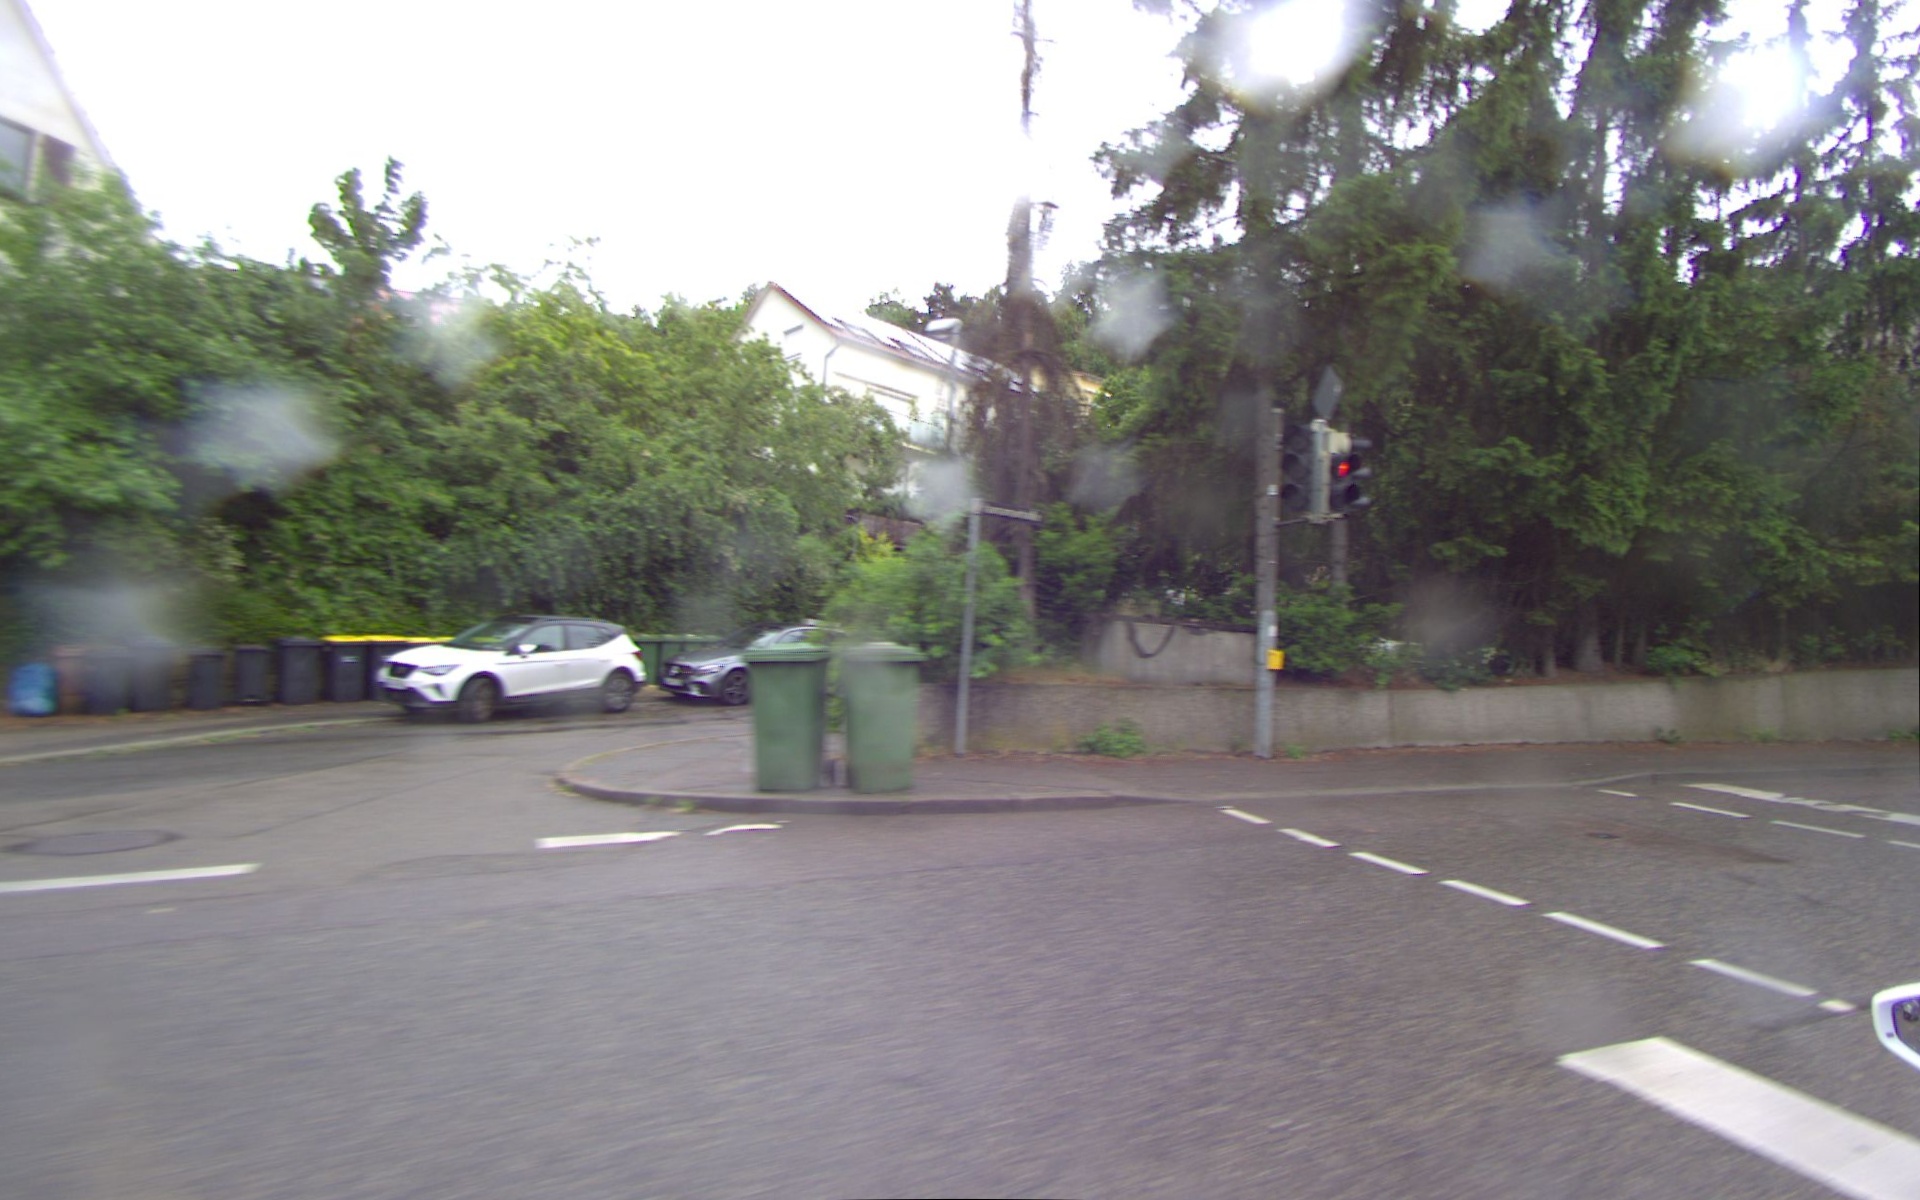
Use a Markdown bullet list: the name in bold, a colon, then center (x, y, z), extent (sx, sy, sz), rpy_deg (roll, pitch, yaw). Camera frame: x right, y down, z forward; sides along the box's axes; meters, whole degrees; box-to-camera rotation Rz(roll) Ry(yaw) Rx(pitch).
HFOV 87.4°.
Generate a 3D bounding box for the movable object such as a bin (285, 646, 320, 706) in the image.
- **movable object such as a bin**: center (-10.453, 1.200, 15.971), extent (0.297, 0.928, 0.375), rpy_deg (3, 0, 38)

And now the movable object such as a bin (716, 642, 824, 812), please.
- **movable object such as a bin**: center (-1.384, 0.912, 7.408), extent (0.655, 1.155, 0.625), rpy_deg (3, 0, -3)

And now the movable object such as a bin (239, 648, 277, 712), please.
- **movable object such as a bin**: center (-10.864, 1.236, 15.539), extent (0.316, 0.955, 0.381), rpy_deg (3, 0, 39)

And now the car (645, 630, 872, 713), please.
- **car**: center (-3.833, 1.343, 19.862), extent (1.577, 1.378, 4.431), rpy_deg (3, 0, 37)

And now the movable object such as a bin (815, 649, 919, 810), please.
- **movable object such as a bin**: center (-0.680, 0.940, 7.475), extent (0.693, 1.102, 0.560), rpy_deg (3, 0, -3)

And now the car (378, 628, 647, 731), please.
- **car**: center (-6.919, 1.158, 15.908), extent (1.520, 1.348, 3.742), rpy_deg (2, 0, 28)

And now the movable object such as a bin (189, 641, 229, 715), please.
- **movable object such as a bin**: center (-11.124, 1.144, 14.873), extent (0.297, 1.053, 0.381), rpy_deg (3, 0, 39)

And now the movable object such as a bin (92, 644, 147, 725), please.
- **movable object such as a bin**: center (-11.663, 1.156, 13.945), extent (0.361, 1.078, 0.497), rpy_deg (3, 0, 39)

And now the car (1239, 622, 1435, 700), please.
- **car**: center (8.378, 1.328, 22.638), extent (3.919, 1.607, 1.707), rpy_deg (0, 0, 12)

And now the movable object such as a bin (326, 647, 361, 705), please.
- **movable object such as a bin**: center (-10.097, 1.237, 16.457), extent (0.291, 0.928, 0.393), rpy_deg (3, 0, 38)

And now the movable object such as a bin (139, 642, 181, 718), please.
- **movable object such as a bin**: center (-11.581, 1.147, 14.539), extent (0.344, 1.059, 0.387), rpy_deg (3, 0, 39)

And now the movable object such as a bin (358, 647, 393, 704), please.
- **movable object such as a bin**: center (-9.789, 1.253, 16.818), extent (0.287, 0.928, 0.393), rpy_deg (3, 0, 38)

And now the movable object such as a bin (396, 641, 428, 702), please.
- **movable object such as a bin**: center (-9.436, 1.224, 17.297), extent (0.302, 1.008, 0.369), rpy_deg (3, 0, 38)
